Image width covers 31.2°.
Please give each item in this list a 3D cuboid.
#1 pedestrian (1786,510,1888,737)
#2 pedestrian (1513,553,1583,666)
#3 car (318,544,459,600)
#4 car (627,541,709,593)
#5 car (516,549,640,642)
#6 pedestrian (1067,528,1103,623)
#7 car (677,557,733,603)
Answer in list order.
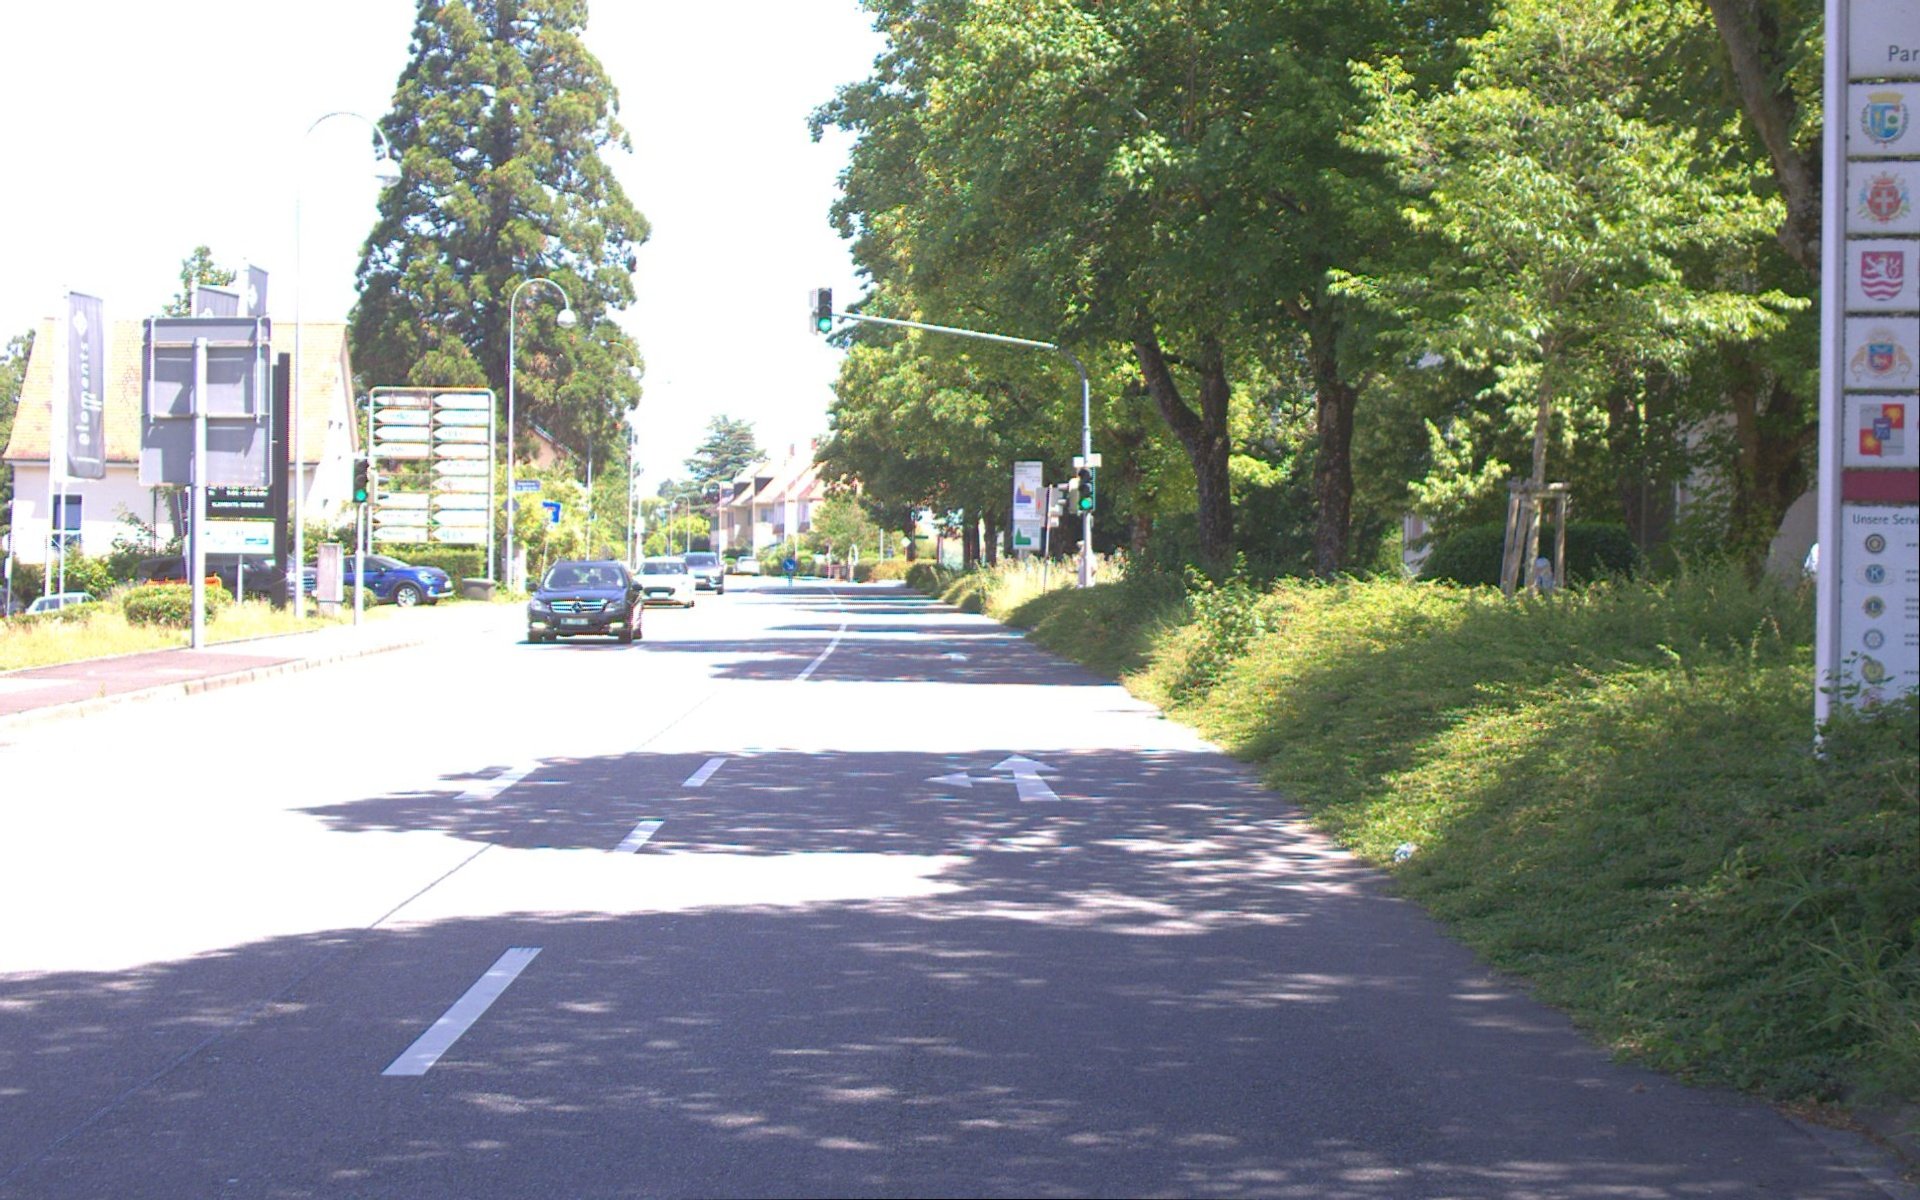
[{"bbox_3d":[7.495,0.197,29.391,0.703,1.908,0.660,1,0,3],"label":"pedestrian"},{"bbox_3d":[7.111,0.113,41.593,0.661,1.330,0.889,1,0,0],"label":"pedestrian"},{"bbox_3d":[-15.197,-0.748,91.522,3.490,1.422,1.601,1,0,0],"label":"car"},{"bbox_3d":[-8.527,-0.976,100.620,1.993,1.482,4.310,1,1,0],"label":"car"},{"bbox_3d":[-6.591,-0.108,59.602,1.710,1.490,4.278,1,1,-1],"label":"car"},{"bbox_3d":[2.326,-0.454,63.894,0.613,1.745,0.562,1,0,5],"label":"pedestrian"},{"bbox_3d":[-9.963,-0.791,134.392,1.879,1.712,4.310,1,1,-1],"label":"car"}]
